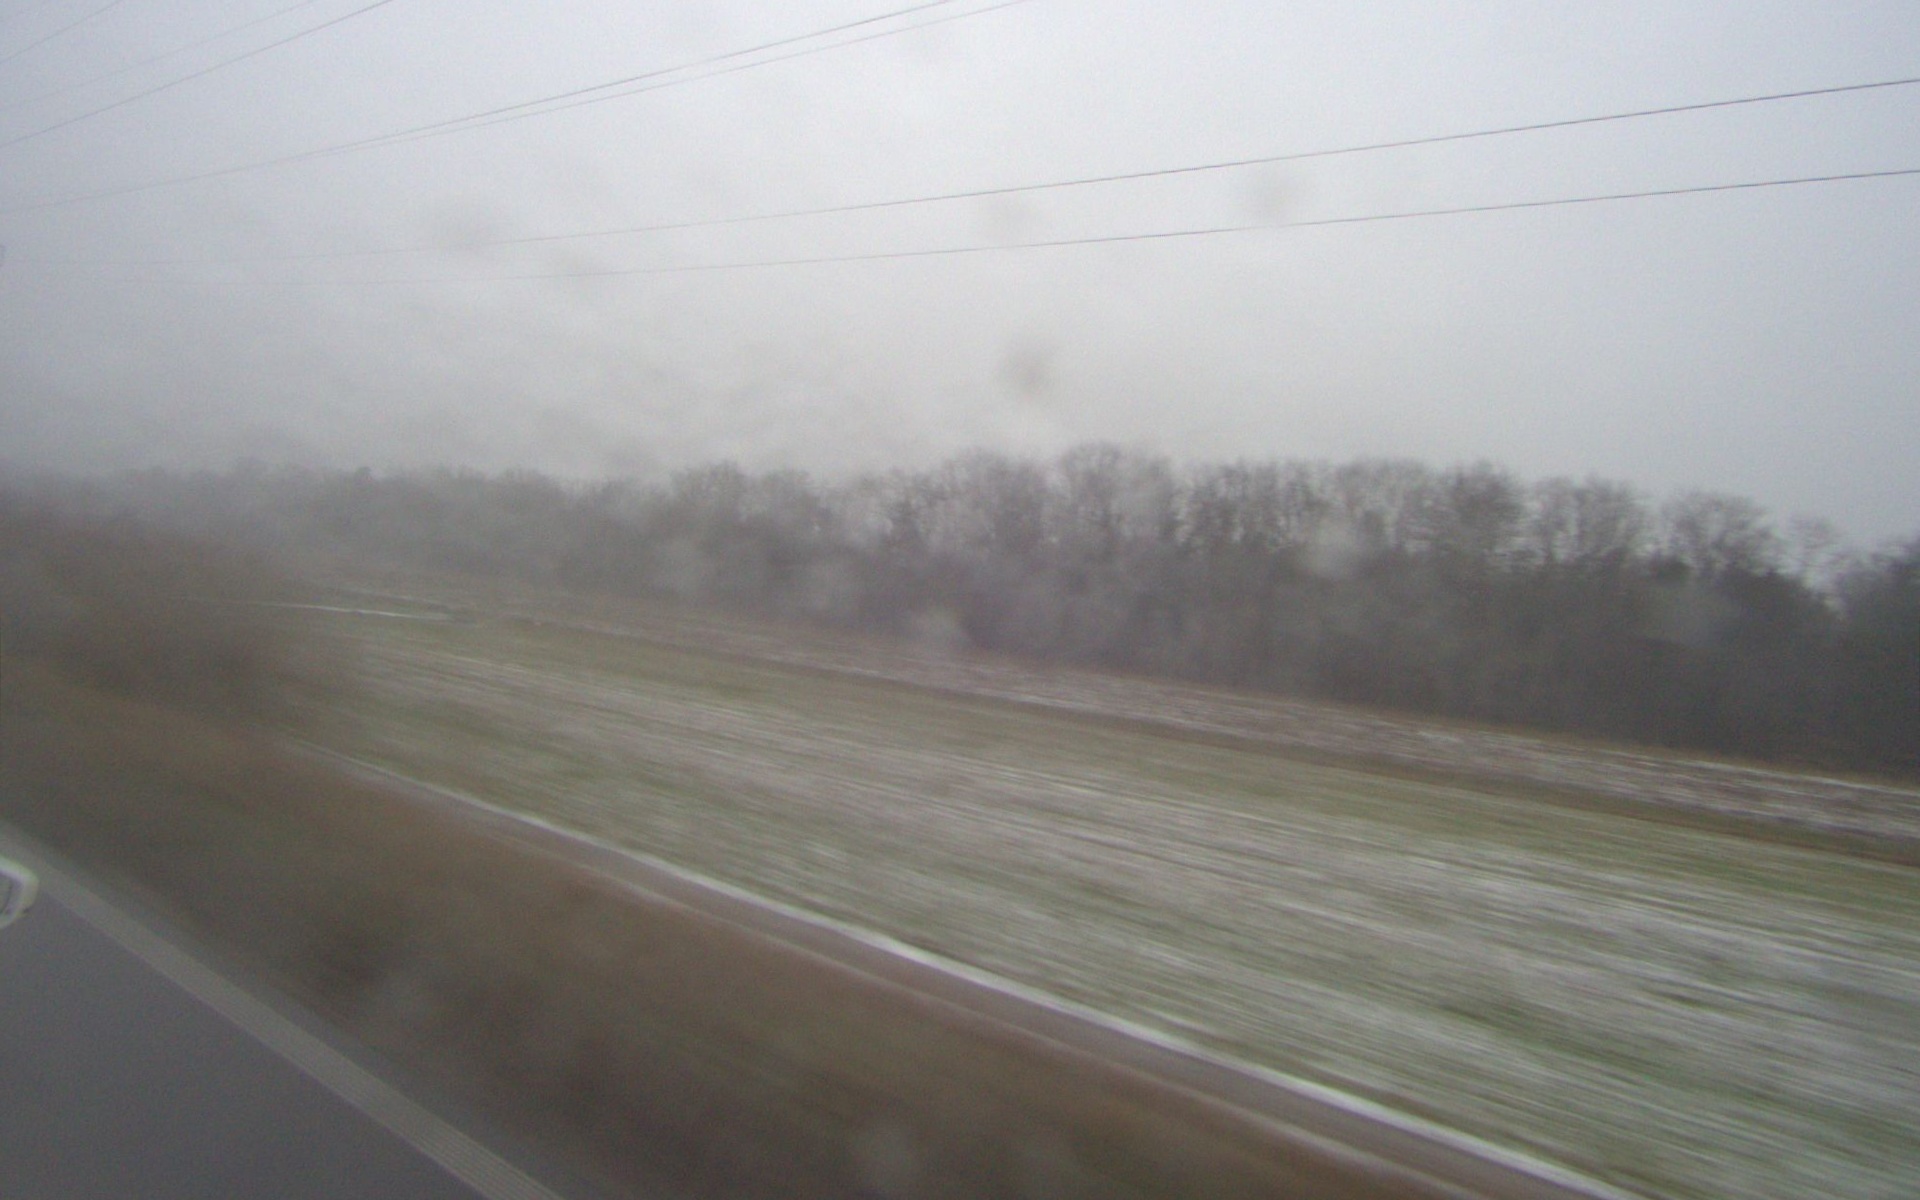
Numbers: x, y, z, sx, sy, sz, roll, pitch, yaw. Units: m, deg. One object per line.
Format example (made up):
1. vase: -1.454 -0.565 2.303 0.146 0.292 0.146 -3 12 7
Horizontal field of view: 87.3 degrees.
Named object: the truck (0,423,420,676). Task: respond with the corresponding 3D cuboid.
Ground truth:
1. truck: -12.344 -0.960 14.552 10.621 2.601 2.509 7 -1 30
